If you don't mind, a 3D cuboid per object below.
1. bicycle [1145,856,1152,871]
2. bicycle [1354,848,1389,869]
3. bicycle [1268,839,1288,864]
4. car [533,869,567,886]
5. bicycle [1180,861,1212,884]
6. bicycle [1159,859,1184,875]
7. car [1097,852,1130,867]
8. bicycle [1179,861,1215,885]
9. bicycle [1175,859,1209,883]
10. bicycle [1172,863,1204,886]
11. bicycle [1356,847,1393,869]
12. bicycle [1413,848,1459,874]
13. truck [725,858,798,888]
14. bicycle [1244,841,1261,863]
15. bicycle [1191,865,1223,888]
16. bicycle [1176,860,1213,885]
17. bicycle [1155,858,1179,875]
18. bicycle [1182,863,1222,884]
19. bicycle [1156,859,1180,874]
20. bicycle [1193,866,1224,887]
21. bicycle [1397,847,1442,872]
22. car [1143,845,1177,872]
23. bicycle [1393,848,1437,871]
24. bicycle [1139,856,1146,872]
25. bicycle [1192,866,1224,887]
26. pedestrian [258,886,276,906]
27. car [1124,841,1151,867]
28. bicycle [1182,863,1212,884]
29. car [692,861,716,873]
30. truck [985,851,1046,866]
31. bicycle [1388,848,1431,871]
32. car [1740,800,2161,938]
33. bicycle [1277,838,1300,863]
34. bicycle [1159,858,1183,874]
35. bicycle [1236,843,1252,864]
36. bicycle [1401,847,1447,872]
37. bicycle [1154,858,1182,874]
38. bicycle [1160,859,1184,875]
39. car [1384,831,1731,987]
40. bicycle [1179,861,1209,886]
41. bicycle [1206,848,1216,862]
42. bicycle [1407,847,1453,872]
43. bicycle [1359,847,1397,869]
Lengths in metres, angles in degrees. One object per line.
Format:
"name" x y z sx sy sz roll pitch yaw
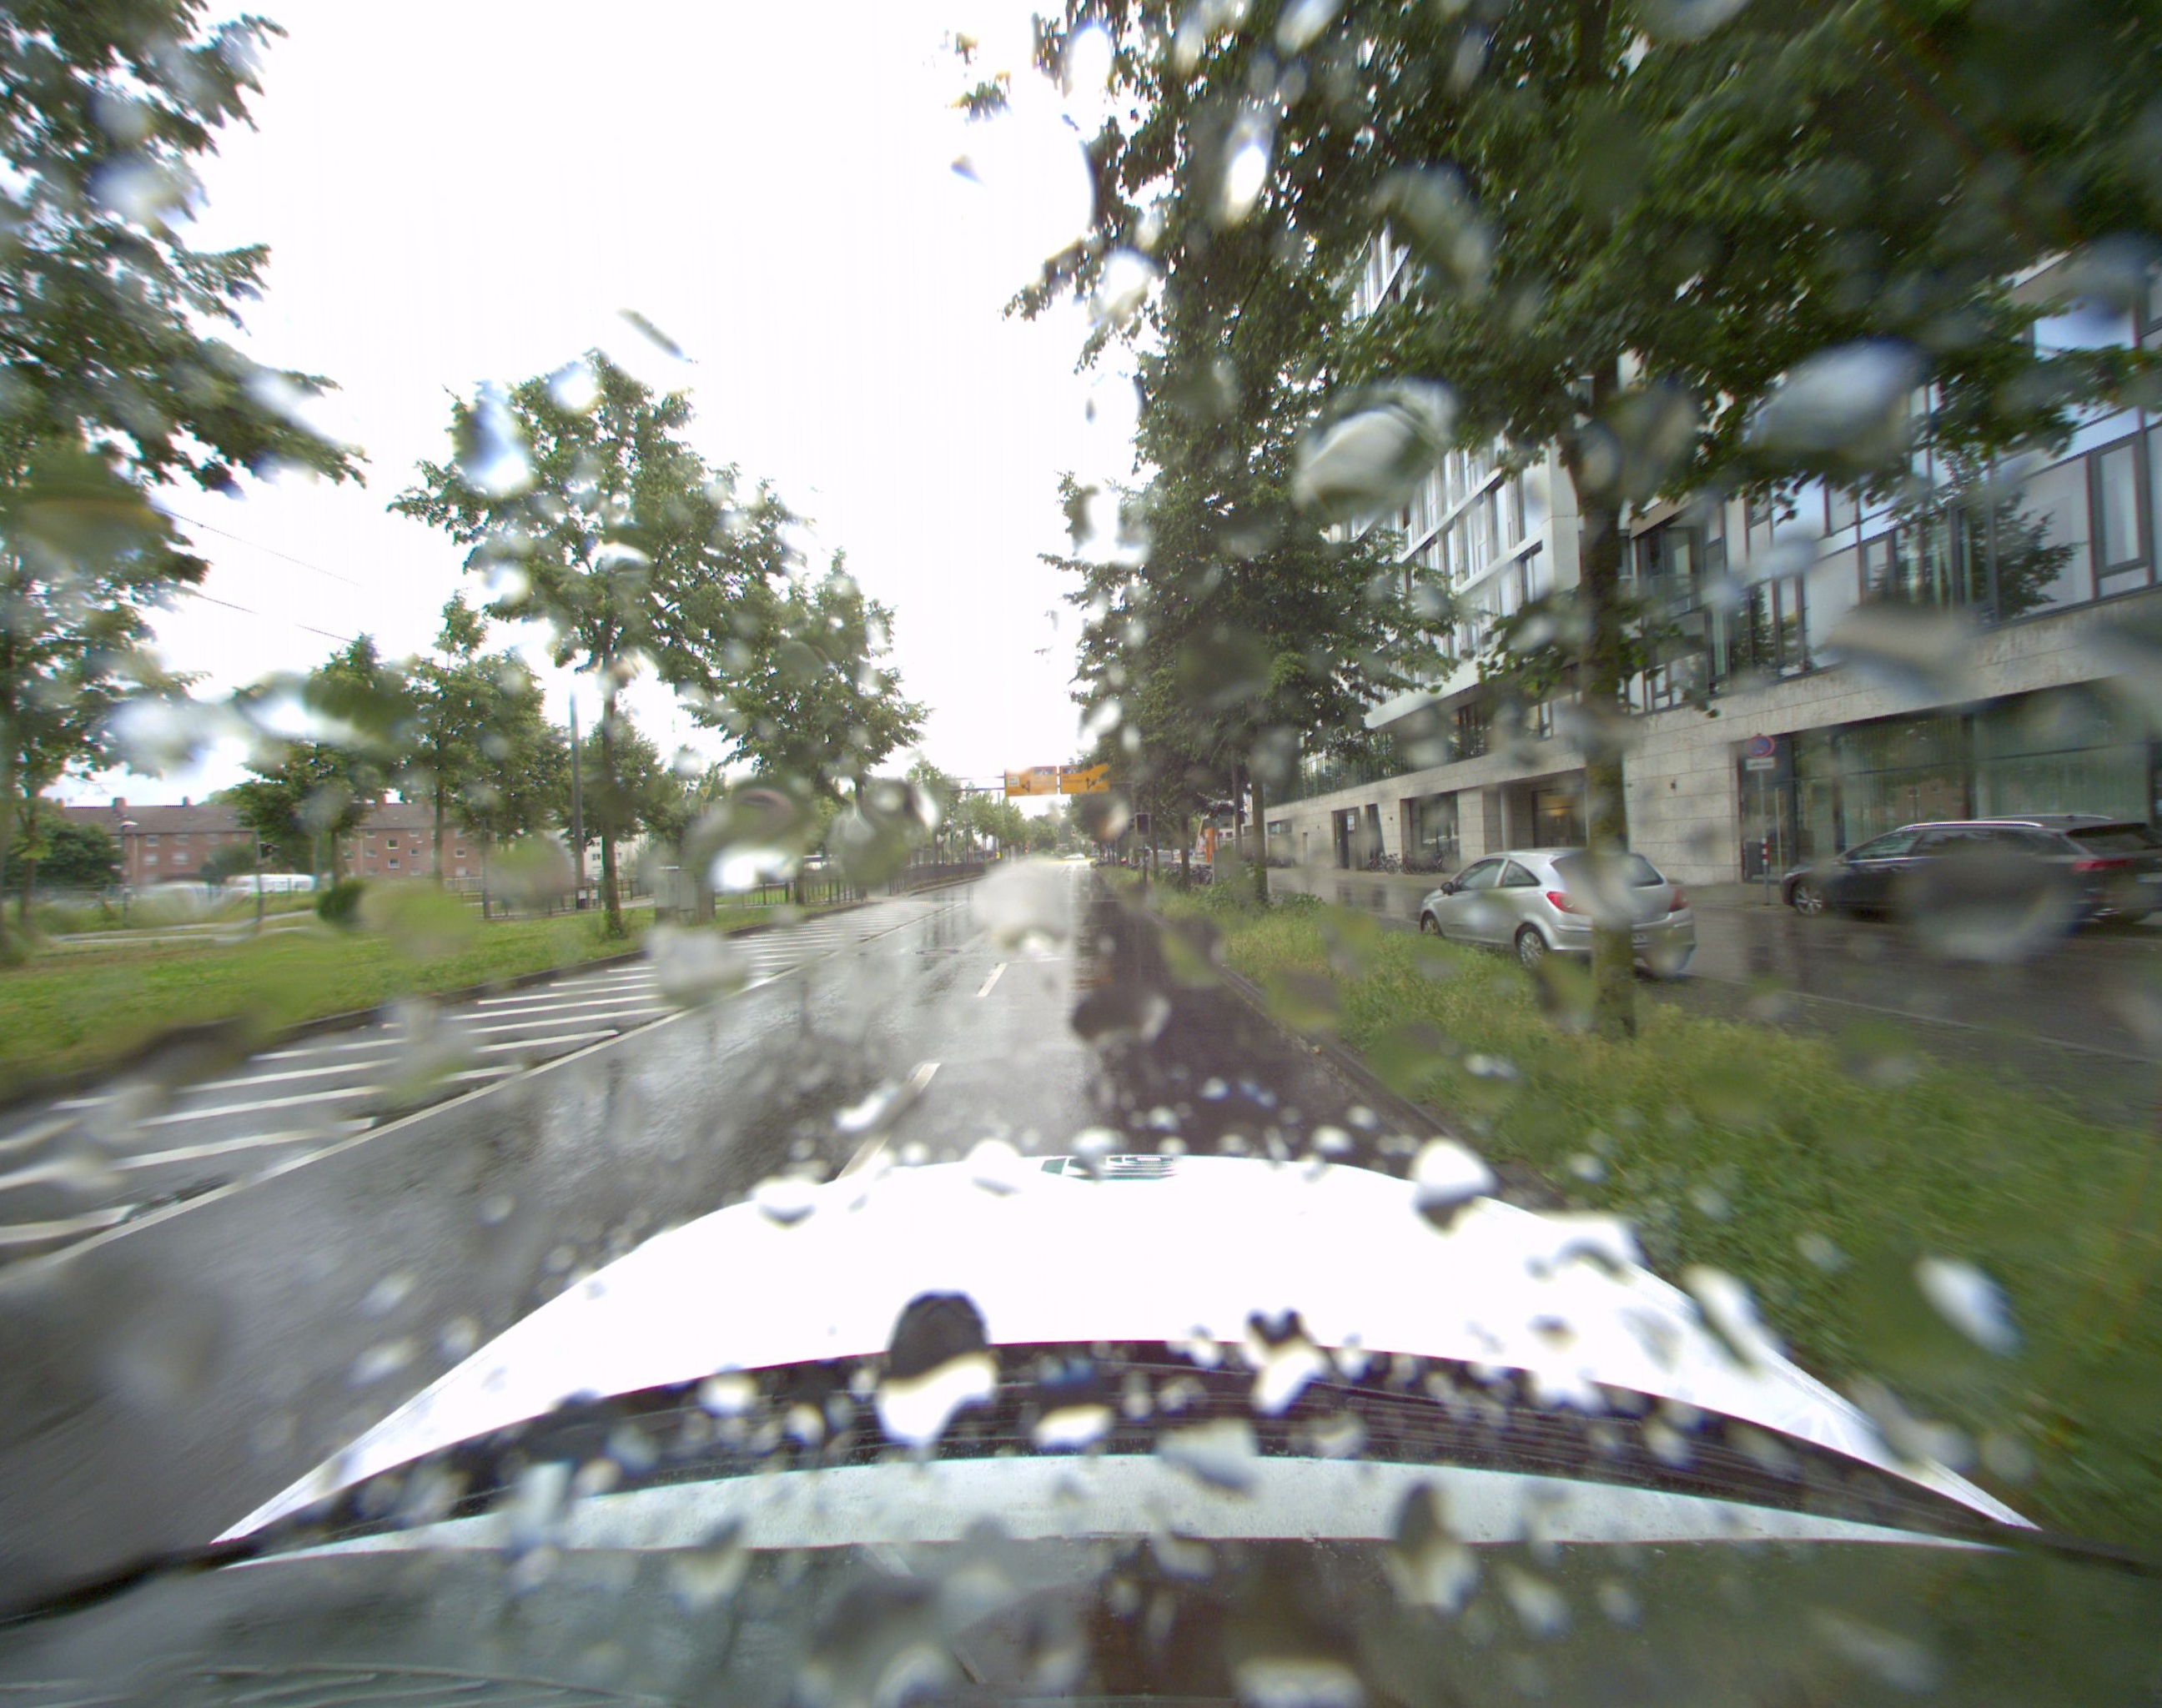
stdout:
"bicycle" 3.765 0.524 45.610 0.273 0.849 1.292 -3 0 0
"bicycle" 15.298 0.229 42.907 1.687 1.028 0.423 -3 -1 2
"bicycle" 14.658 -0.214 60.595 0.642 1.722 3.120 -3 2 -1
"car" -72.515 3.216 111.276 1.988 2.013 3.999 -3 2 -1
"bicycle" 5.332 0.848 37.789 1.431 1.017 0.349 -3 0 6
"bicycle" 5.037 0.706 45.421 1.285 0.849 0.354 -3 0 -2
"car" 3.805 0.643 95.114 1.828 1.545 3.959 -4 3 -33
"bicycle" 5.321 0.852 37.385 1.566 1.017 0.408 -3 0 6
"bicycle" 5.504 0.826 40.413 1.609 1.096 0.296 -3 0 -3
"bicycle" 5.046 0.967 38.585 1.446 1.017 0.349 -3 0 3
"bicycle" 15.277 0.200 42.386 1.687 1.028 0.423 -3 -1 2
"bicycle" 15.525 0.299 35.600 1.800 1.028 0.401 -3 -1 2
"truck" -61.220 3.546 156.084 12.522 4.592 3.372 -4 2 -27
"bicycle" 14.920 -0.187 70.932 0.642 1.722 3.120 -3 2 -1
"bicycle" 5.319 0.949 34.361 1.280 0.874 0.302 -3 0 11
"bicycle" 5.477 0.910 39.333 1.704 1.103 0.282 -3 0 -8
"bicycle" 4.951 0.695 47.103 1.322 0.910 0.275 -3 0 -2
"bicycle" 5.335 0.851 35.871 1.665 0.849 0.275 -3 0 3
"bicycle" 4.964 0.711 46.429 1.285 0.849 0.275 -3 0 -2
"bicycle" 5.495 0.968 35.096 1.280 0.849 0.276 -3 0 11
"bicycle" 15.596 0.253 37.511 1.800 1.028 0.541 -3 -1 2
"car" 5.755 0.307 59.643 1.900 1.791 4.687 -3 0 0
"bicycle" 15.634 0.258 38.161 1.800 1.028 0.541 -3 -1 2
"bicycle" 3.450 0.539 45.539 0.273 0.849 1.292 -3 0 0
"bicycle" 5.420 0.974 34.728 1.280 0.832 0.276 -3 0 11
"pedestrian" -69.037 3.562 69.070 0.676 1.671 0.695 -3 2 -9
"car" 5.400 -0.012 78.061 2.114 2.274 4.563 -3 0 0
"bicycle" 5.152 0.851 36.216 1.283 0.849 0.275 -3 0 4
"car" -65.809 2.310 142.231 3.548 1.738 1.692 -4 2 -24
"truck" -16.527 1.071 204.587 14.888 3.147 3.504 -2 0 -16
"bicycle" 15.670 0.263 38.916 1.800 1.028 0.541 -3 -1 2
"car" 12.851 0.105 12.105 1.987 1.501 5.034 -5 1 0
"bicycle" 15.438 -0.255 60.641 0.770 1.722 3.120 -3 2 -1
"bicycle" 5.040 0.682 45.753 1.285 0.849 0.275 -3 0 -2
"bicycle" 14.178 -0.057 70.903 0.642 1.722 3.120 -3 2 -1
"bicycle" 15.526 0.248 36.906 1.800 1.028 0.541 -3 -1 2
"bicycle" 5.151 0.706 48.412 1.590 0.849 0.311 -3 0 -2
"bicycle" 5.034 0.706 45.053 1.285 0.849 0.275 -3 0 -2
"car" 5.925 0.510 10.964 1.875 1.505 4.724 -3 2 0
"bicycle" 5.146 0.871 37.027 1.281 1.074 0.276 -3 0 7
"bicycle" 14.852 0.113 92.854 0.664 1.534 2.764 -3 2 0
"bicycle" 15.542 0.252 36.295 1.800 1.028 0.541 -3 -1 2
"bicycle" 15.268 0.216 41.842 1.743 1.028 0.412 -3 -1 2
